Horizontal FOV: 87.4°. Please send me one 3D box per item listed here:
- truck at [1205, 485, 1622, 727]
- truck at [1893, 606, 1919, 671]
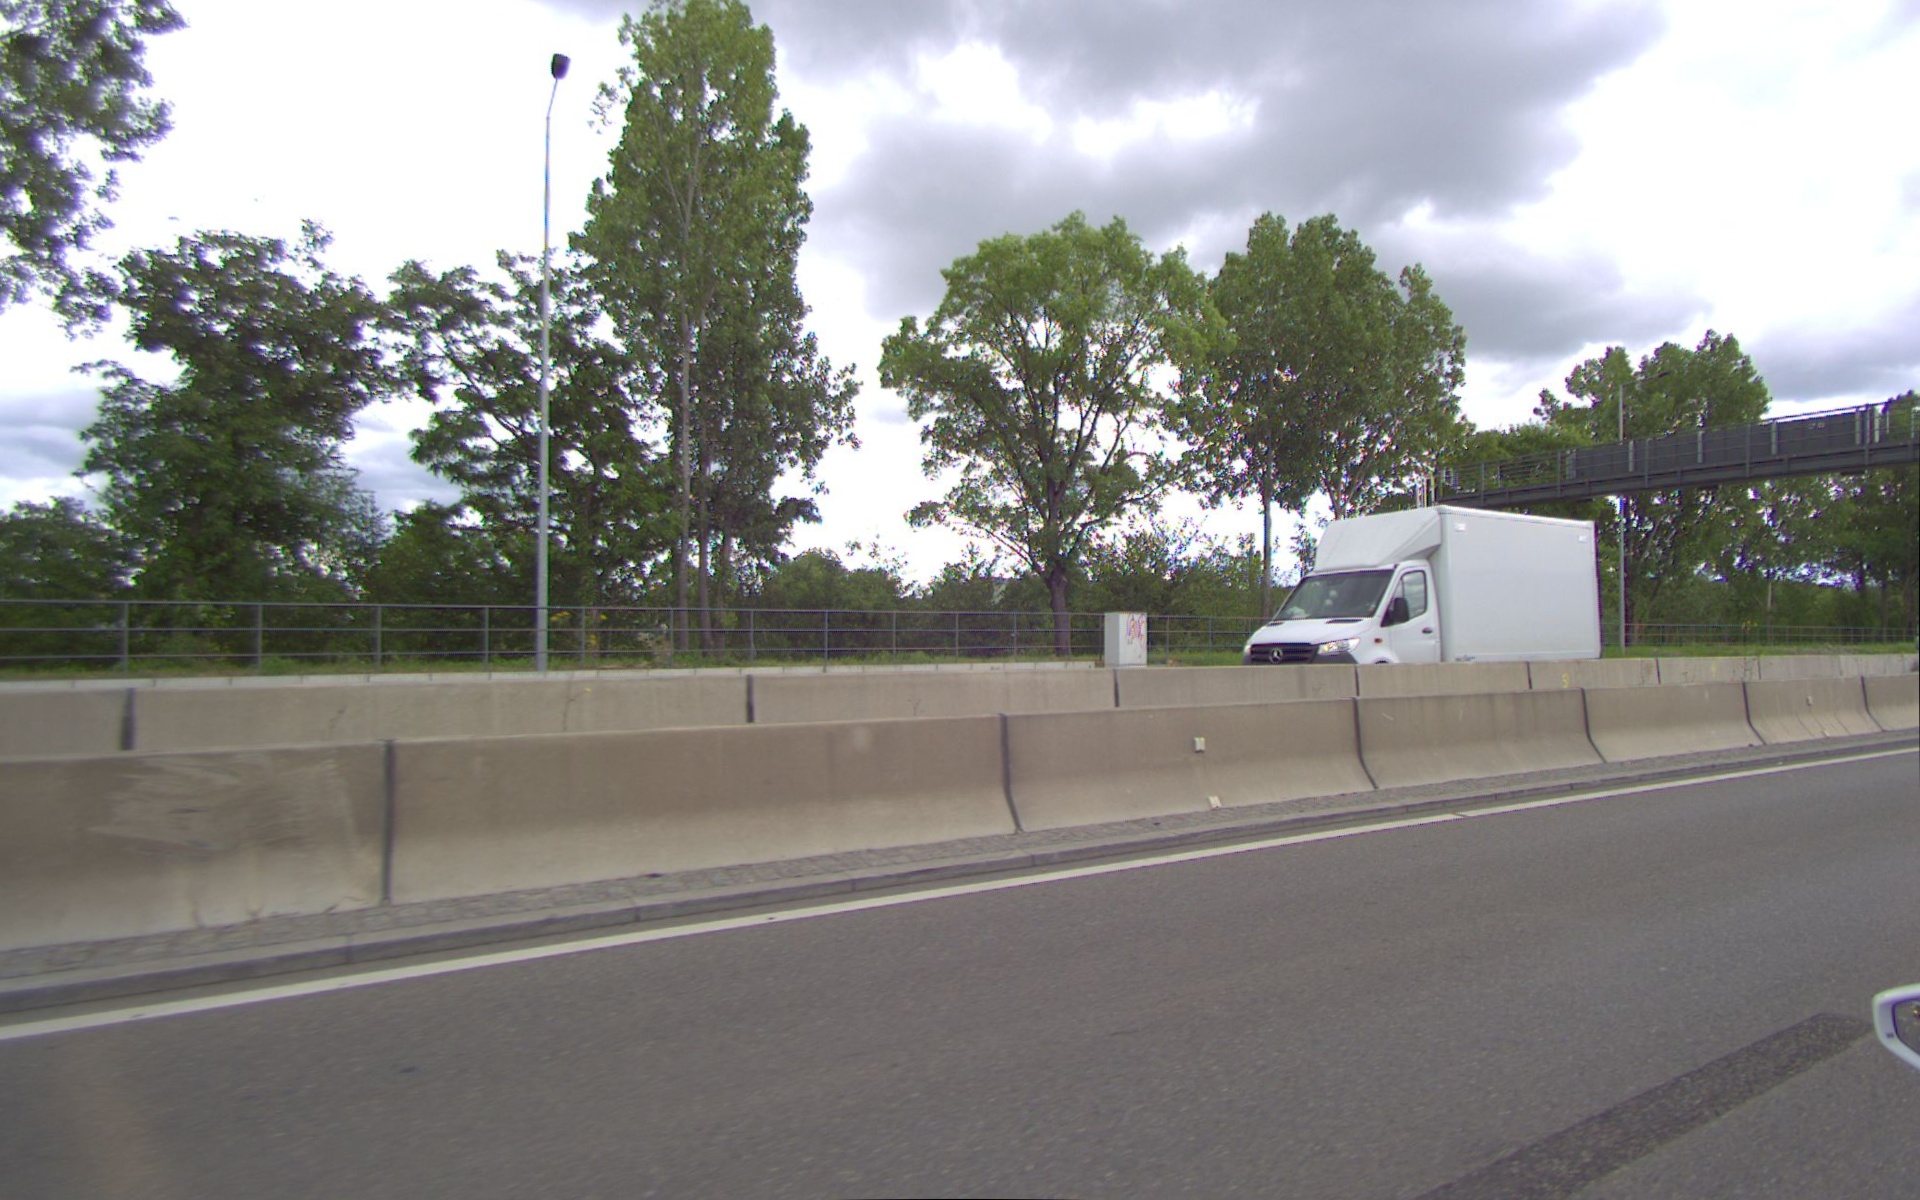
[{"bbox_3d":[7.372,0.109,15.961,7.119,3.149,2.391,1,1,-31],"label":"truck"},{"bbox_3d":[54.038,2.039,52.988,15.704,3.149,2.839,1,1,-31],"label":"truck"}]
